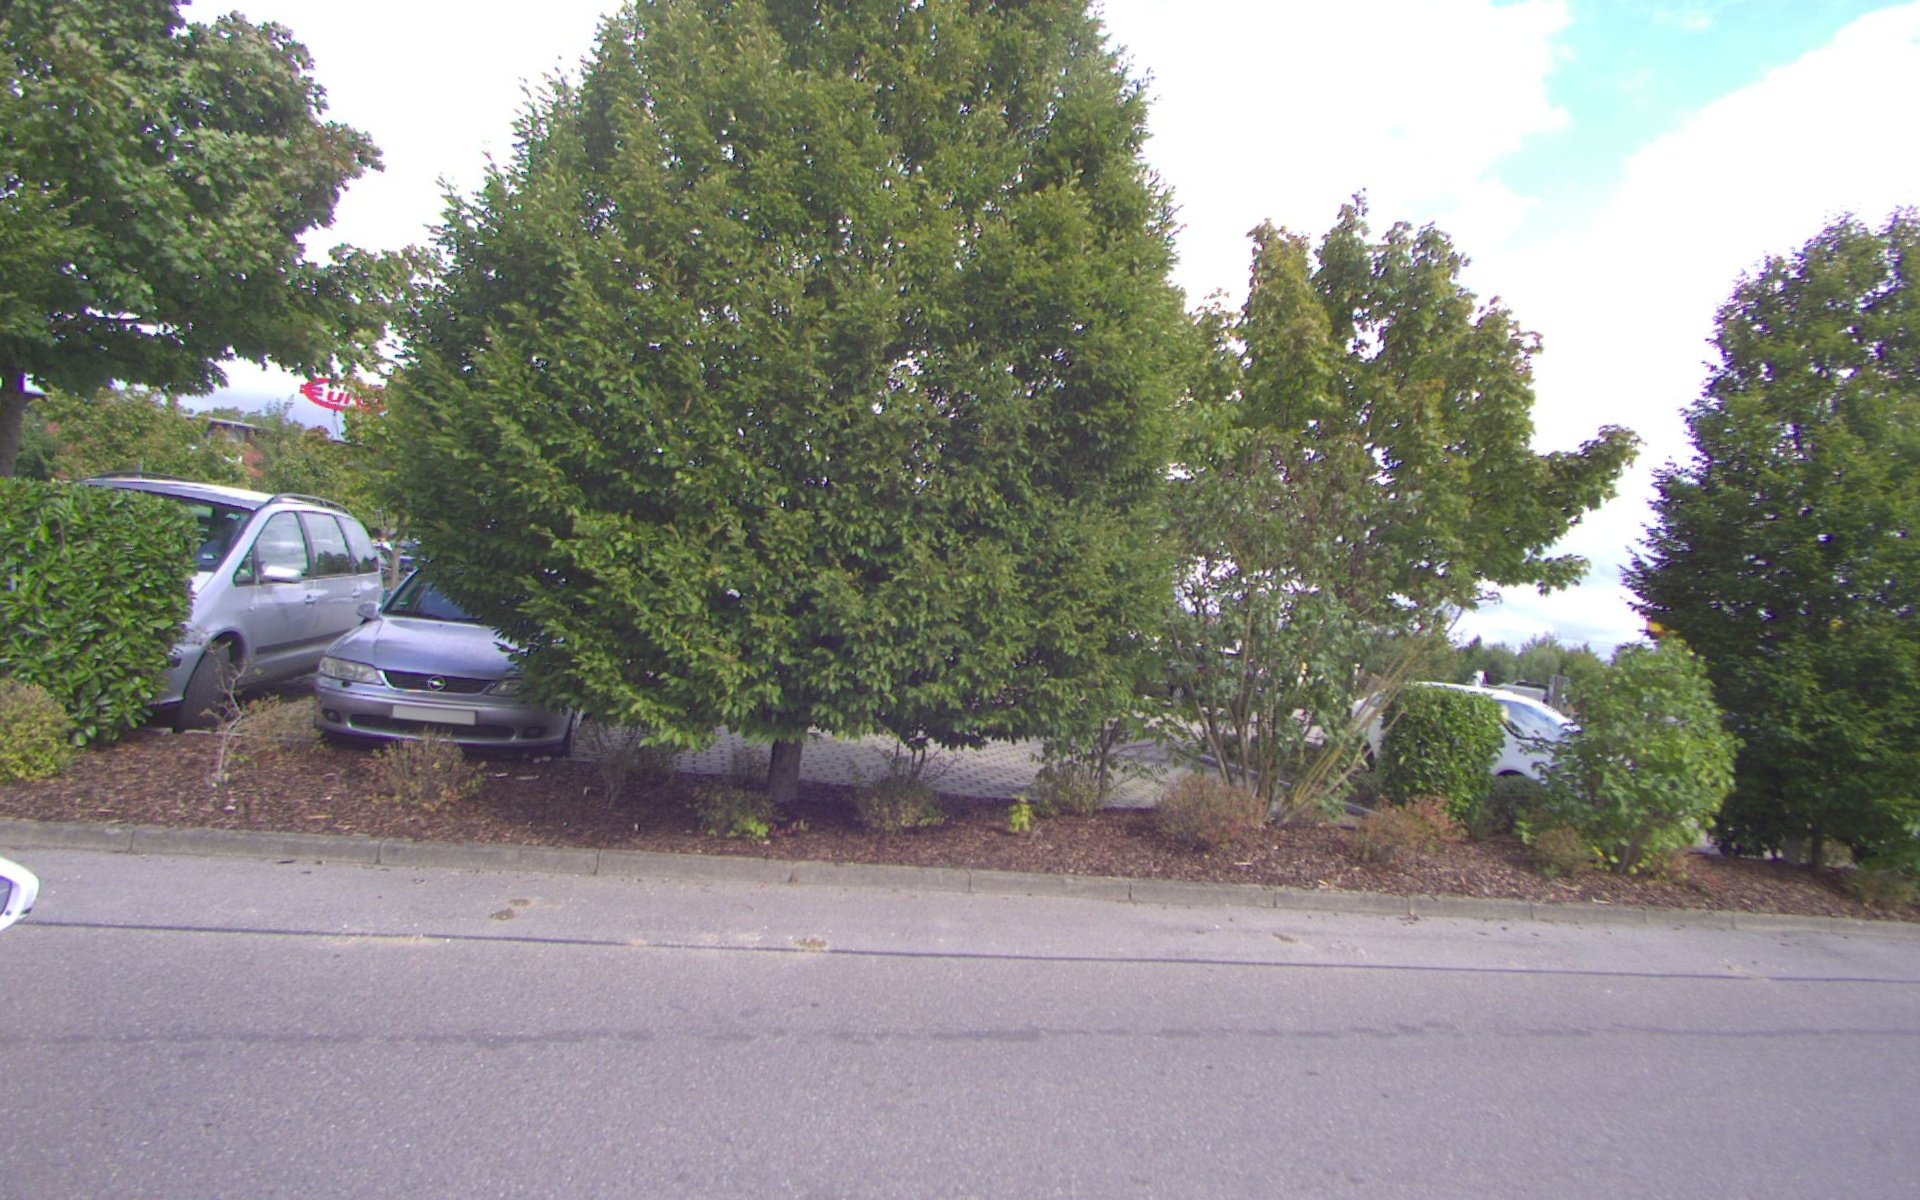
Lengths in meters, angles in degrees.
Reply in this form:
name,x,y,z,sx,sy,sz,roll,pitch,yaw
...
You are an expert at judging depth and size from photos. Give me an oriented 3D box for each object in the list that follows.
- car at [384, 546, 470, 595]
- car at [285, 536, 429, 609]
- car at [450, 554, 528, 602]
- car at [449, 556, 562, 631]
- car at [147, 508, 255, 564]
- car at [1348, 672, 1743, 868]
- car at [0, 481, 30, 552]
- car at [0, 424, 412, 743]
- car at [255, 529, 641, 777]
name,x,y,z,sx,sy,sz,roll,pitch,yaw
car,-20.293,-1.071,38.492,1.630,1.501,4.237,8,-2,-12
car,-14.109,-0.584,23.799,1.695,1.361,4.265,8,-2,-15
car,-18.139,-0.795,38.928,1.630,1.501,4.237,8,-2,-12
car,-10.935,-0.136,24.480,1.695,1.444,4.265,8,-2,-15
car,-26.841,-2.216,35.728,1.798,1.517,3.831,8,-2,-19
car,6.501,1.819,11.745,1.698,1.452,3.875,8,-1,-12
car,-22.929,-2.075,22.125,1.739,1.609,3.992,8,-2,-13
car,-5.989,-0.115,7.858,1.630,1.736,4.356,7,-2,-12
car,-3.809,0.374,8.291,1.698,1.365,3.993,8,-2,-12
